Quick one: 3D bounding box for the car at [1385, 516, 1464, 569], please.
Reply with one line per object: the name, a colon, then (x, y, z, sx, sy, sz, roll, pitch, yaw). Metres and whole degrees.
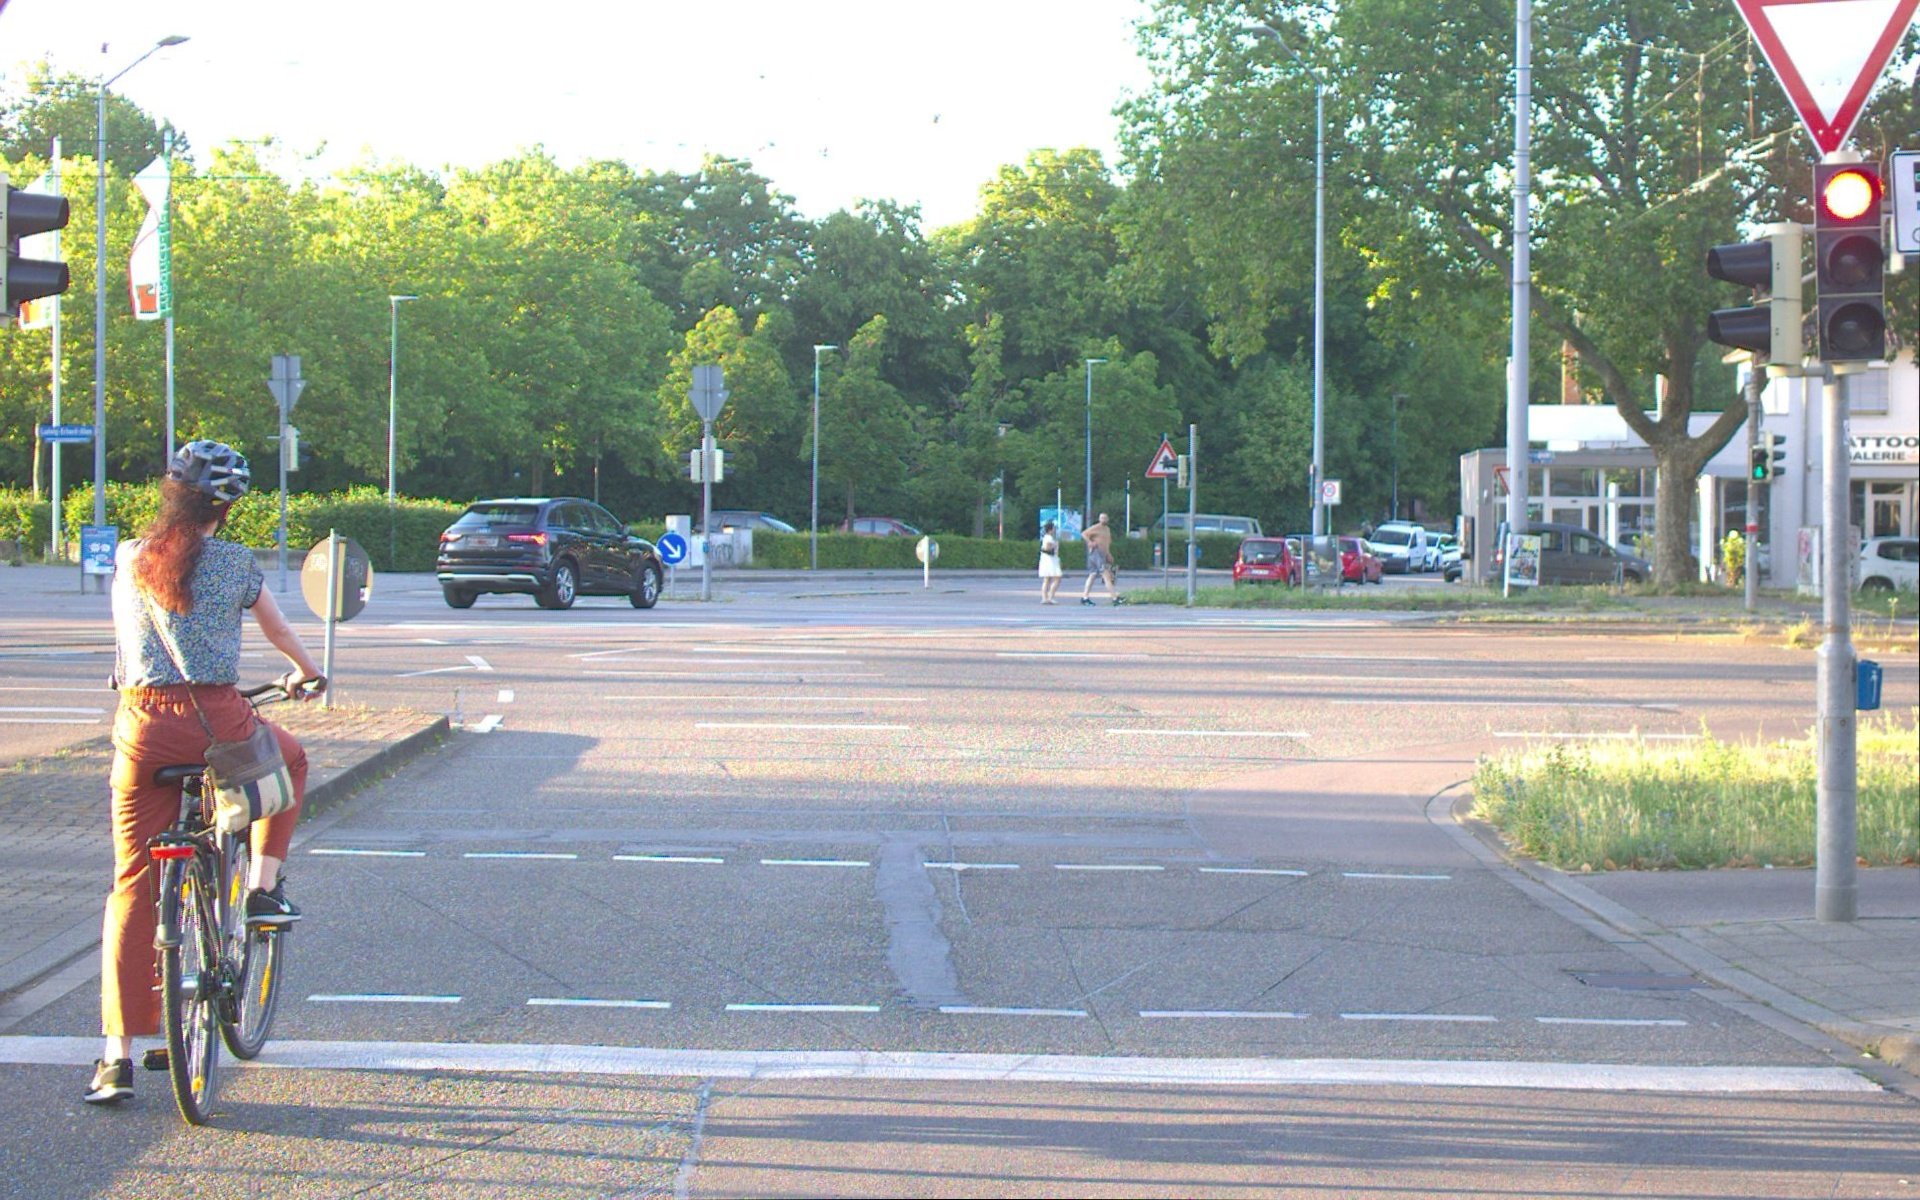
car: (18.372, -2.284, 135.842, 1.996, 2.007, 3.995, 1, 2, 24)

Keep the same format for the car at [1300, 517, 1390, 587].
car: (11.590, -1.459, 103.326, 1.916, 2.040, 3.997, 1, 2, 17)

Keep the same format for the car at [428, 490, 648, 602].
car: (-6.035, -0.751, 49.719, 1.756, 1.535, 4.398, 1, 0, 13)

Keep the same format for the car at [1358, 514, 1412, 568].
car: (16.212, -2.267, 131.186, 1.994, 2.007, 3.999, 1, 1, 7)

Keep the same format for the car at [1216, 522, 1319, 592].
car: (8.578, -1.215, 95.713, 1.870, 1.868, 3.870, 1, 2, 21)

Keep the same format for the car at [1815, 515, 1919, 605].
car: (20.387, -0.844, 72.490, 4.230, 1.840, 2.000, 1, 1, 2)

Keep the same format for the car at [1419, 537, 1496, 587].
car: (16.723, -1.303, 115.407, 1.916, 1.597, 3.997, 1, 2, 17)

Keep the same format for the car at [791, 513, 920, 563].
car: (-3.309, -1.984, 109.495, 3.987, 1.555, 2.000, 1, 1, 1)

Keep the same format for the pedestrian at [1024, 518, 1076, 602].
pedestrian: (1.780, -0.798, 67.952, 0.719, 1.633, 0.896, 1, 1, 24)

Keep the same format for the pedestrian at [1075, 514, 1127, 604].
pedestrian: (2.755, -0.803, 67.174, 0.719, 1.748, 0.896, 1, 1, 24)

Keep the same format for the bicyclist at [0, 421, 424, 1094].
bicyclist: (-2.043, 0.391, 9.277, 1.031, 1.712, 0.996, 1, 1, -1)

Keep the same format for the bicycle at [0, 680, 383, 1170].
bicycle: (-2.044, 0.802, 9.270, 0.634, 1.064, 2.122, 1, 1, -1)

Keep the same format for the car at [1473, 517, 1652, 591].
car: (15.568, -1.200, 88.977, 4.378, 1.828, 1.949, 1, 1, 5)
